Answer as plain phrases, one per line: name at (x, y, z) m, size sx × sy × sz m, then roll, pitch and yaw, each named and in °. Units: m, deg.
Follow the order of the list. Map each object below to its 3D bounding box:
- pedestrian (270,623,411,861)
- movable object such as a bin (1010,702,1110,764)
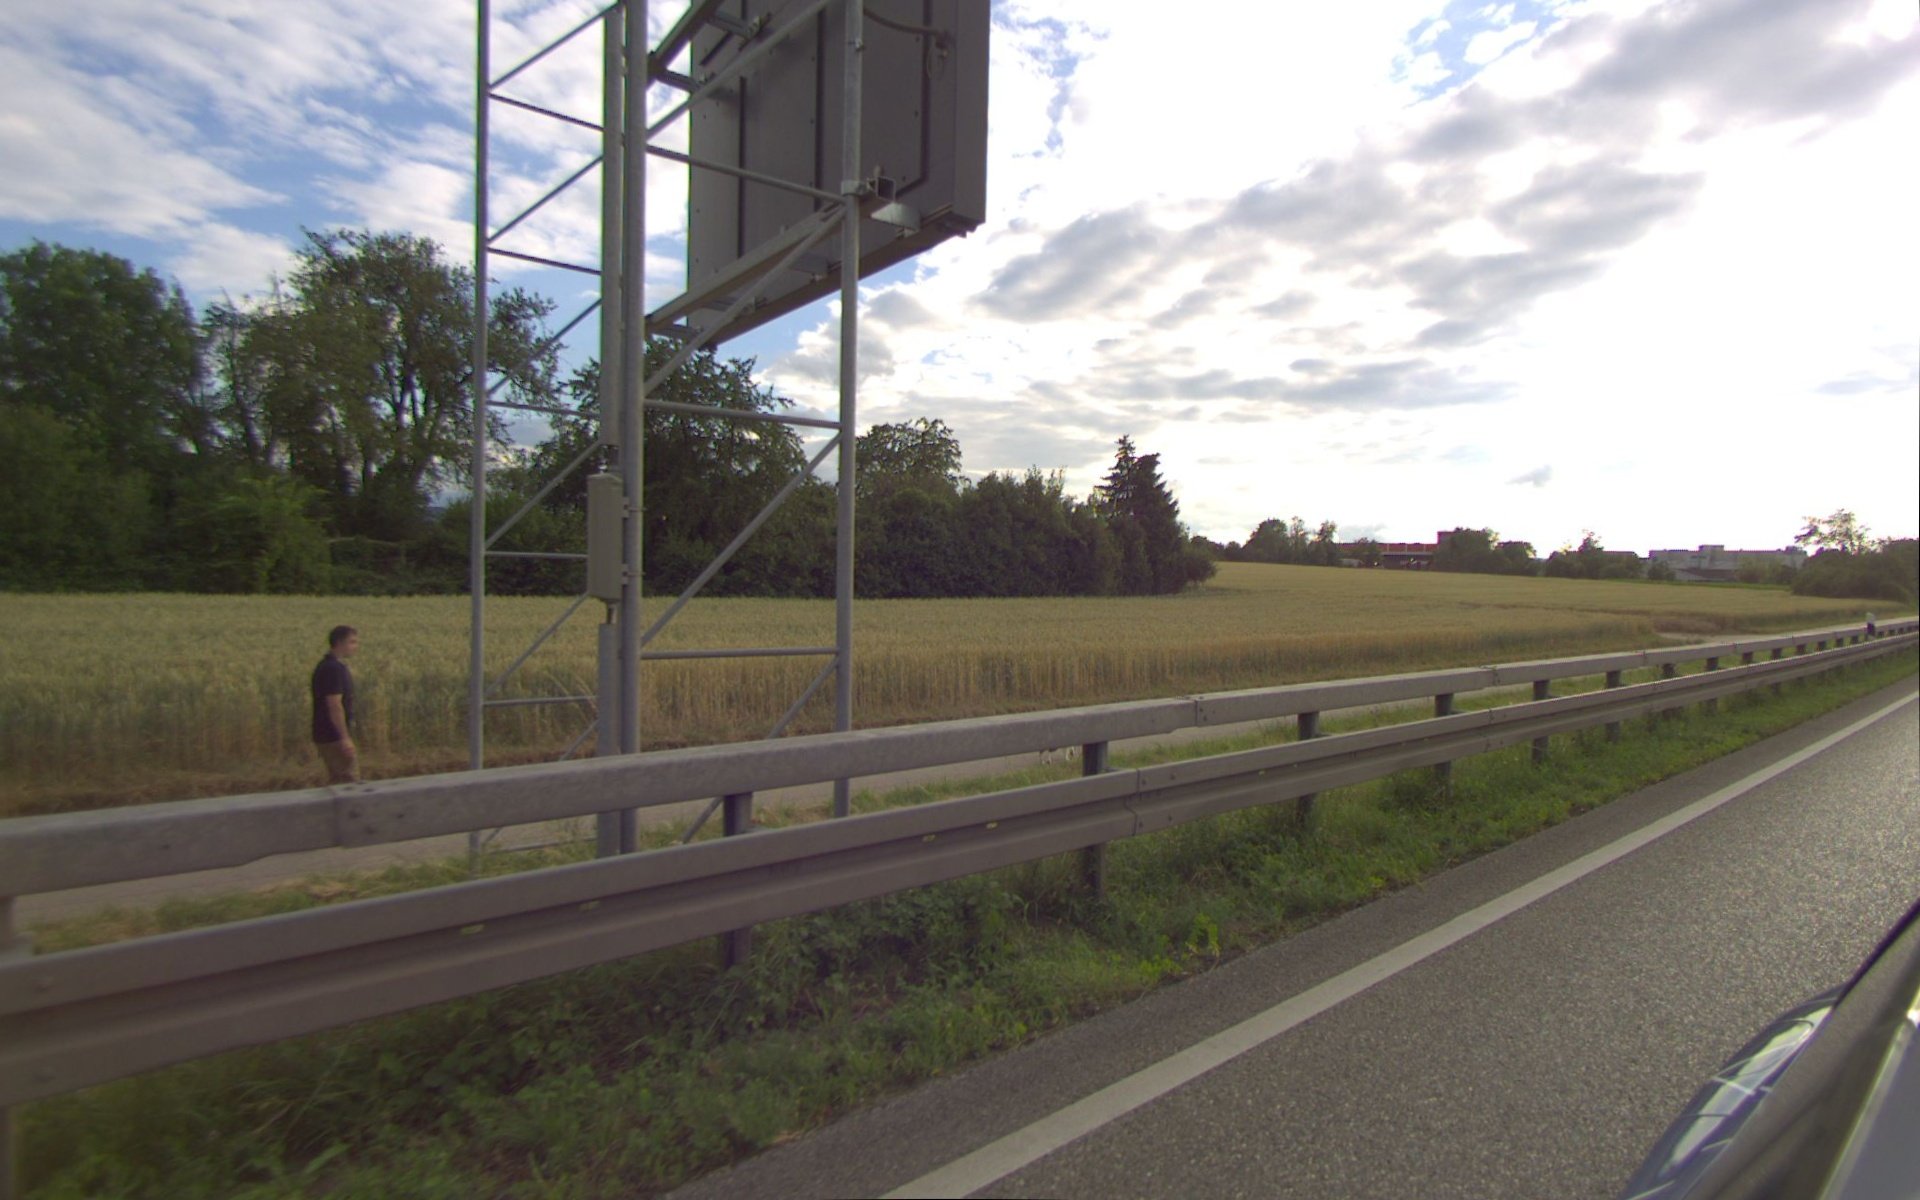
pedestrian at (-5.375, 1.161, 8.778) m, size 0.924 × 1.891 × 0.772 m, roll 0°, pitch -1°, yaw -41°
movable object such as a bin at (1.369, 1.795, 13.824) m, size 1.214 × 0.654 × 0.733 m, roll -1°, pitch 0°, yaw -41°
